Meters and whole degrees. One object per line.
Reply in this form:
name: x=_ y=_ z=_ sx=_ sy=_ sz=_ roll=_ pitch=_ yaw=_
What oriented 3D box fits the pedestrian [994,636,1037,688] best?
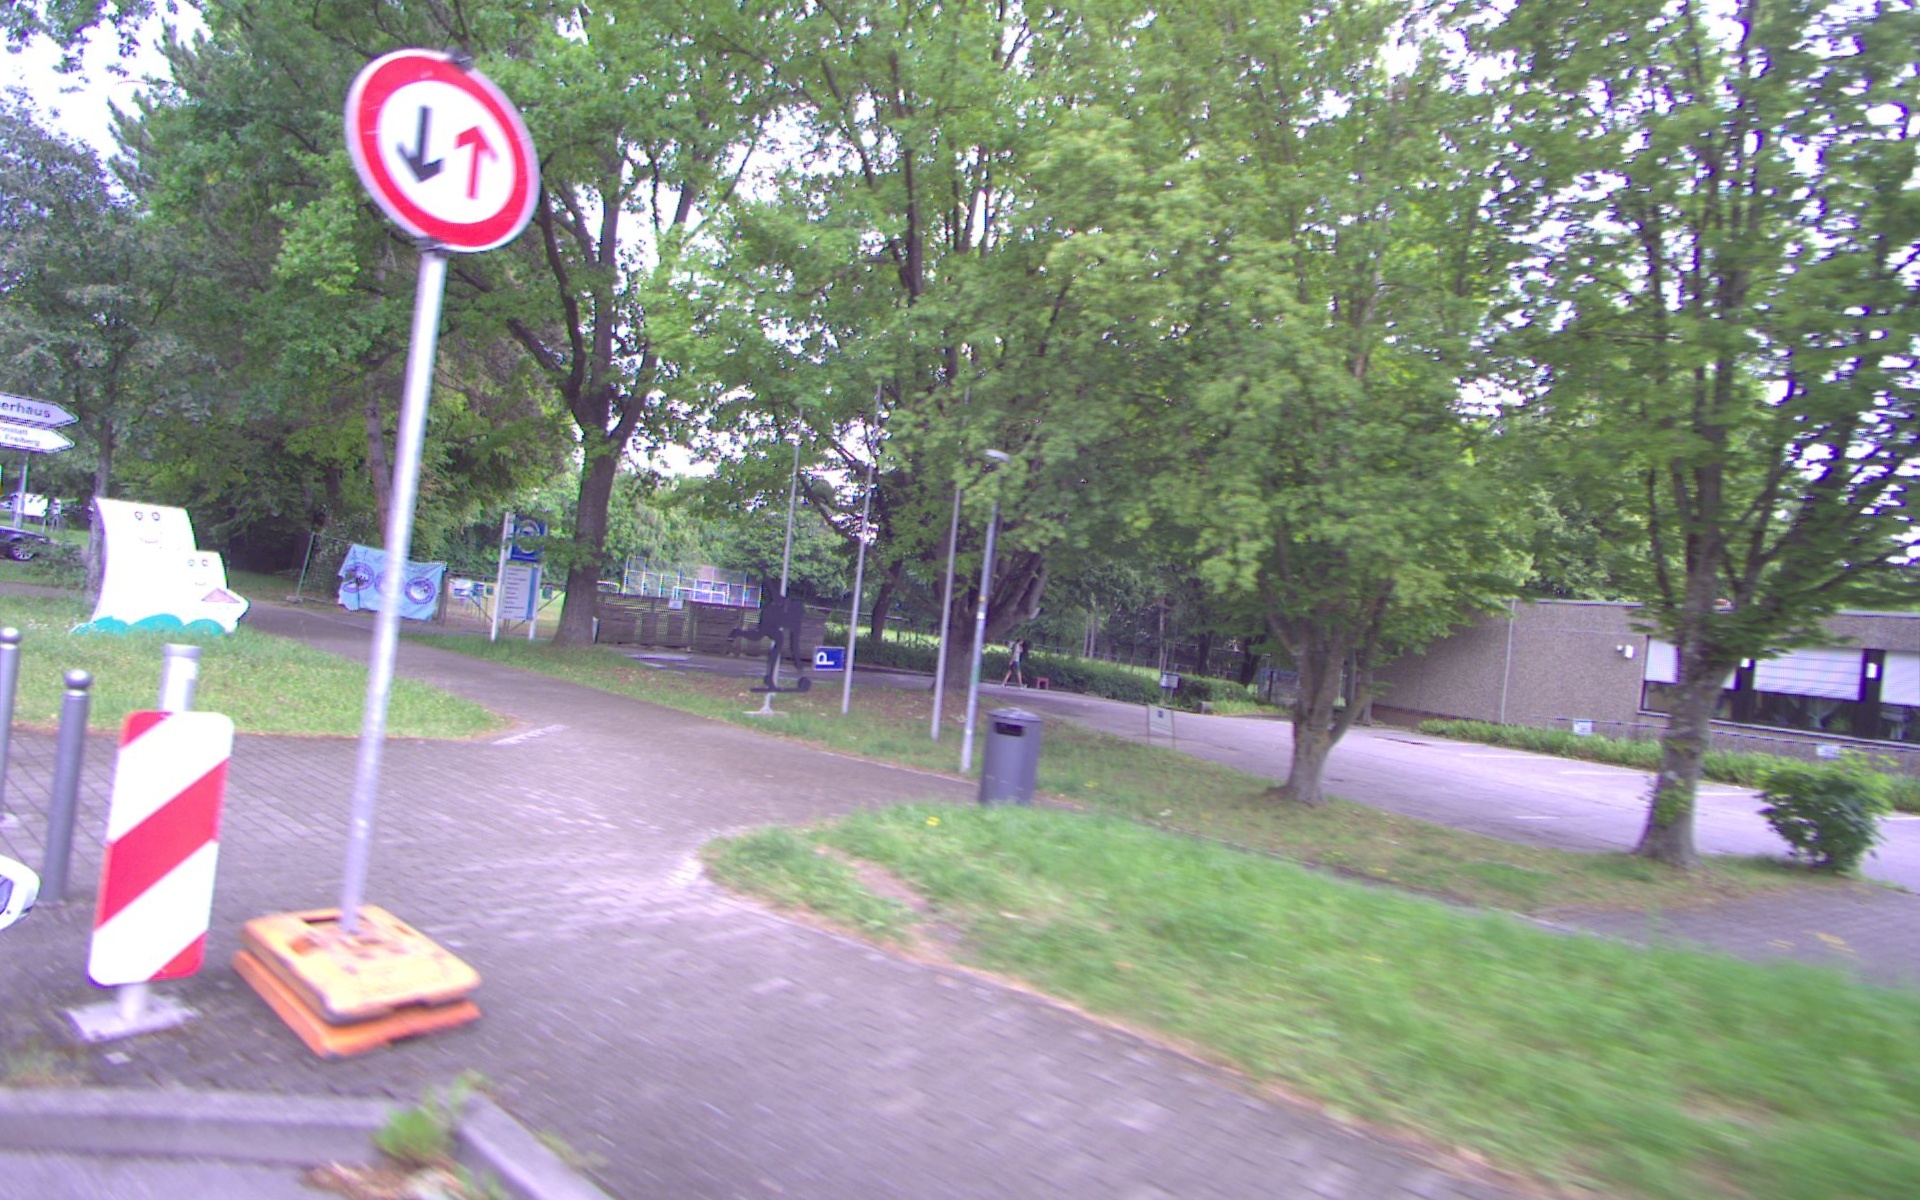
pedestrian: x=1.939 y=2.159 z=34.963 sx=1.136 sy=1.695 sz=0.789 roll=5 pitch=0 yaw=-26

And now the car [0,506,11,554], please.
car: x=-34.540 y=-2.587 z=33.439 sx=1.795 sy=1.588 sz=4.060 roll=6 pitch=0 yaw=38

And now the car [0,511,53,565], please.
car: x=-28.680 y=-1.929 z=28.556 sx=1.971 sy=1.451 sz=4.060 roll=4 pitch=-1 yaw=38

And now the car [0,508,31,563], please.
car: x=-30.838 y=-2.134 z=30.184 sx=1.796 sy=1.587 sz=4.060 roll=4 pitch=-1 yaw=38
